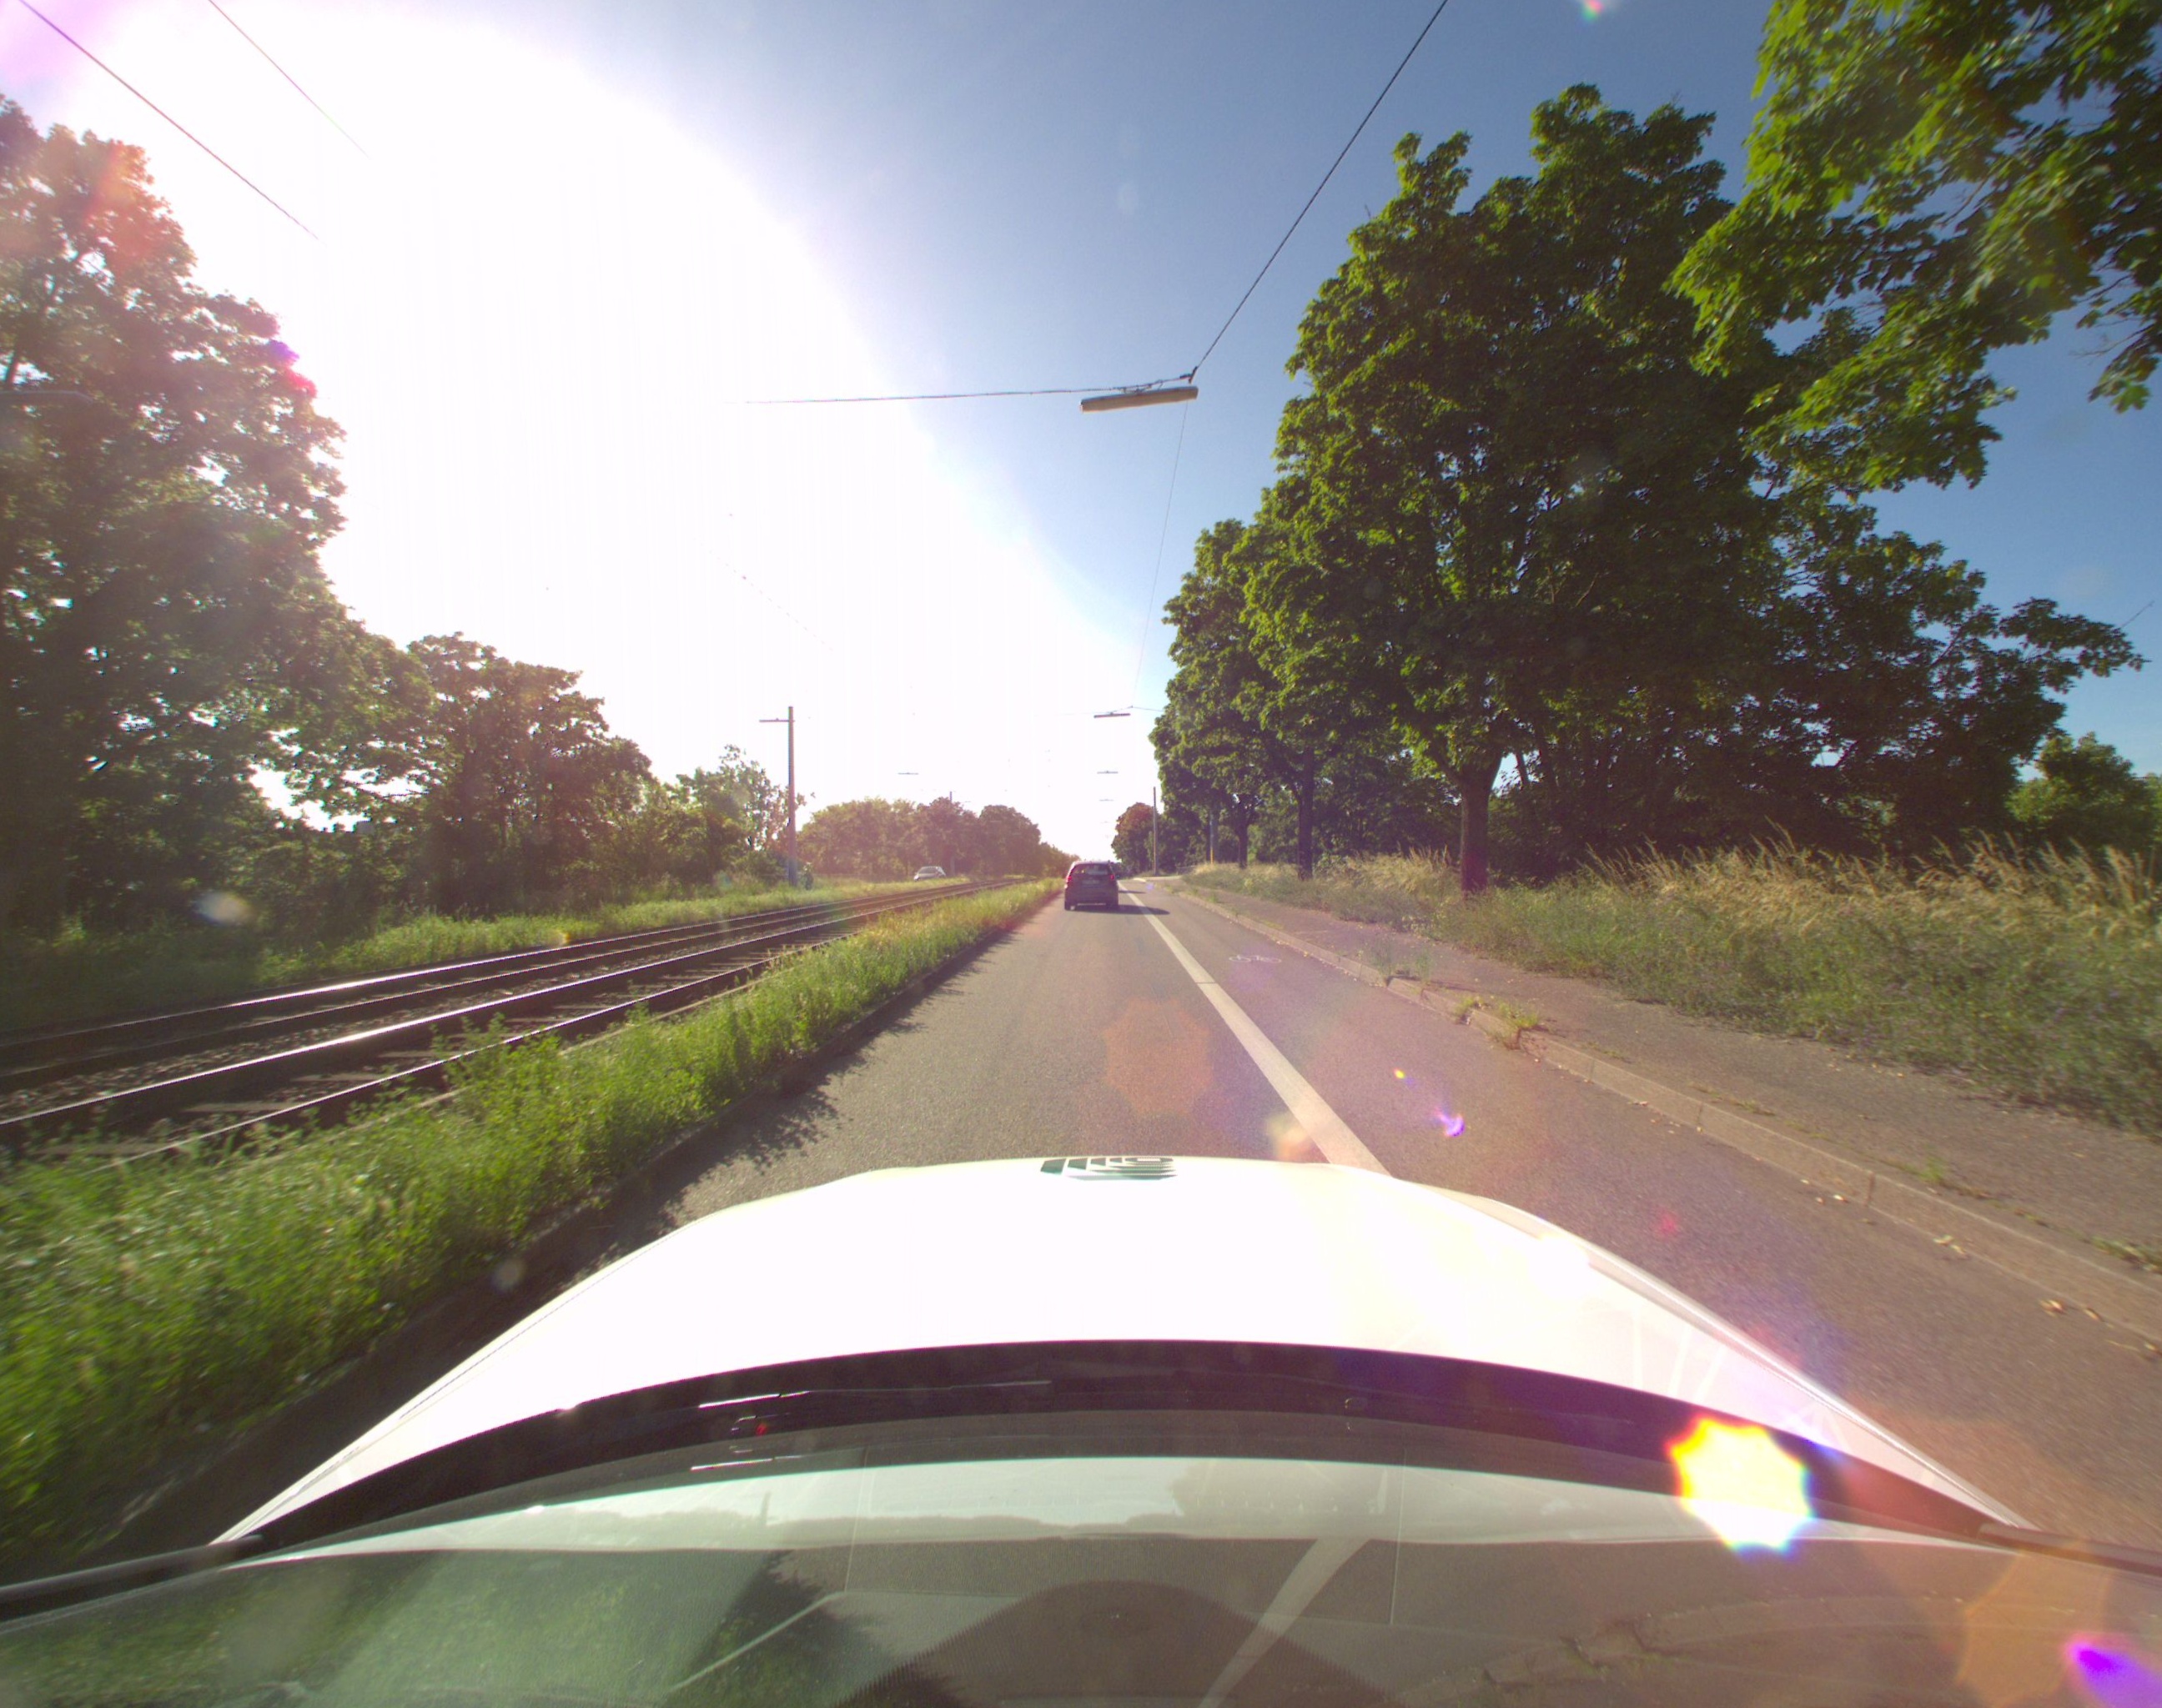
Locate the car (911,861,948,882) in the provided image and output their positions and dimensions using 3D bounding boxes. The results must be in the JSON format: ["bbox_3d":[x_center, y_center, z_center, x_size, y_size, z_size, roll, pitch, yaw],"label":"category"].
[{"bbox_3d":[-11.377,1.311,61.399,1.802,1.489,4.409,0,0,3],"label":"car"}]

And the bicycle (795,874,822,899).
[{"bbox_3d":[-14.959,1.778,44.756,0.587,1.261,2.428,0,0,2],"label":"bicycle"}]

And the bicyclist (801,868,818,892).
[{"bbox_3d":[-14.944,1.413,44.820,0.580,1.310,0.988,0,0,2],"label":"bicyclist"}]

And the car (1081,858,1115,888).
[{"bbox_3d":[0.919,0.948,42.459,1.648,1.507,3.813,0,0,2],"label":"car"}]

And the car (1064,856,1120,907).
[{"bbox_3d":[0.407,0.831,26.229,1.663,1.507,3.813,0,0,2],"label":"car"}]
